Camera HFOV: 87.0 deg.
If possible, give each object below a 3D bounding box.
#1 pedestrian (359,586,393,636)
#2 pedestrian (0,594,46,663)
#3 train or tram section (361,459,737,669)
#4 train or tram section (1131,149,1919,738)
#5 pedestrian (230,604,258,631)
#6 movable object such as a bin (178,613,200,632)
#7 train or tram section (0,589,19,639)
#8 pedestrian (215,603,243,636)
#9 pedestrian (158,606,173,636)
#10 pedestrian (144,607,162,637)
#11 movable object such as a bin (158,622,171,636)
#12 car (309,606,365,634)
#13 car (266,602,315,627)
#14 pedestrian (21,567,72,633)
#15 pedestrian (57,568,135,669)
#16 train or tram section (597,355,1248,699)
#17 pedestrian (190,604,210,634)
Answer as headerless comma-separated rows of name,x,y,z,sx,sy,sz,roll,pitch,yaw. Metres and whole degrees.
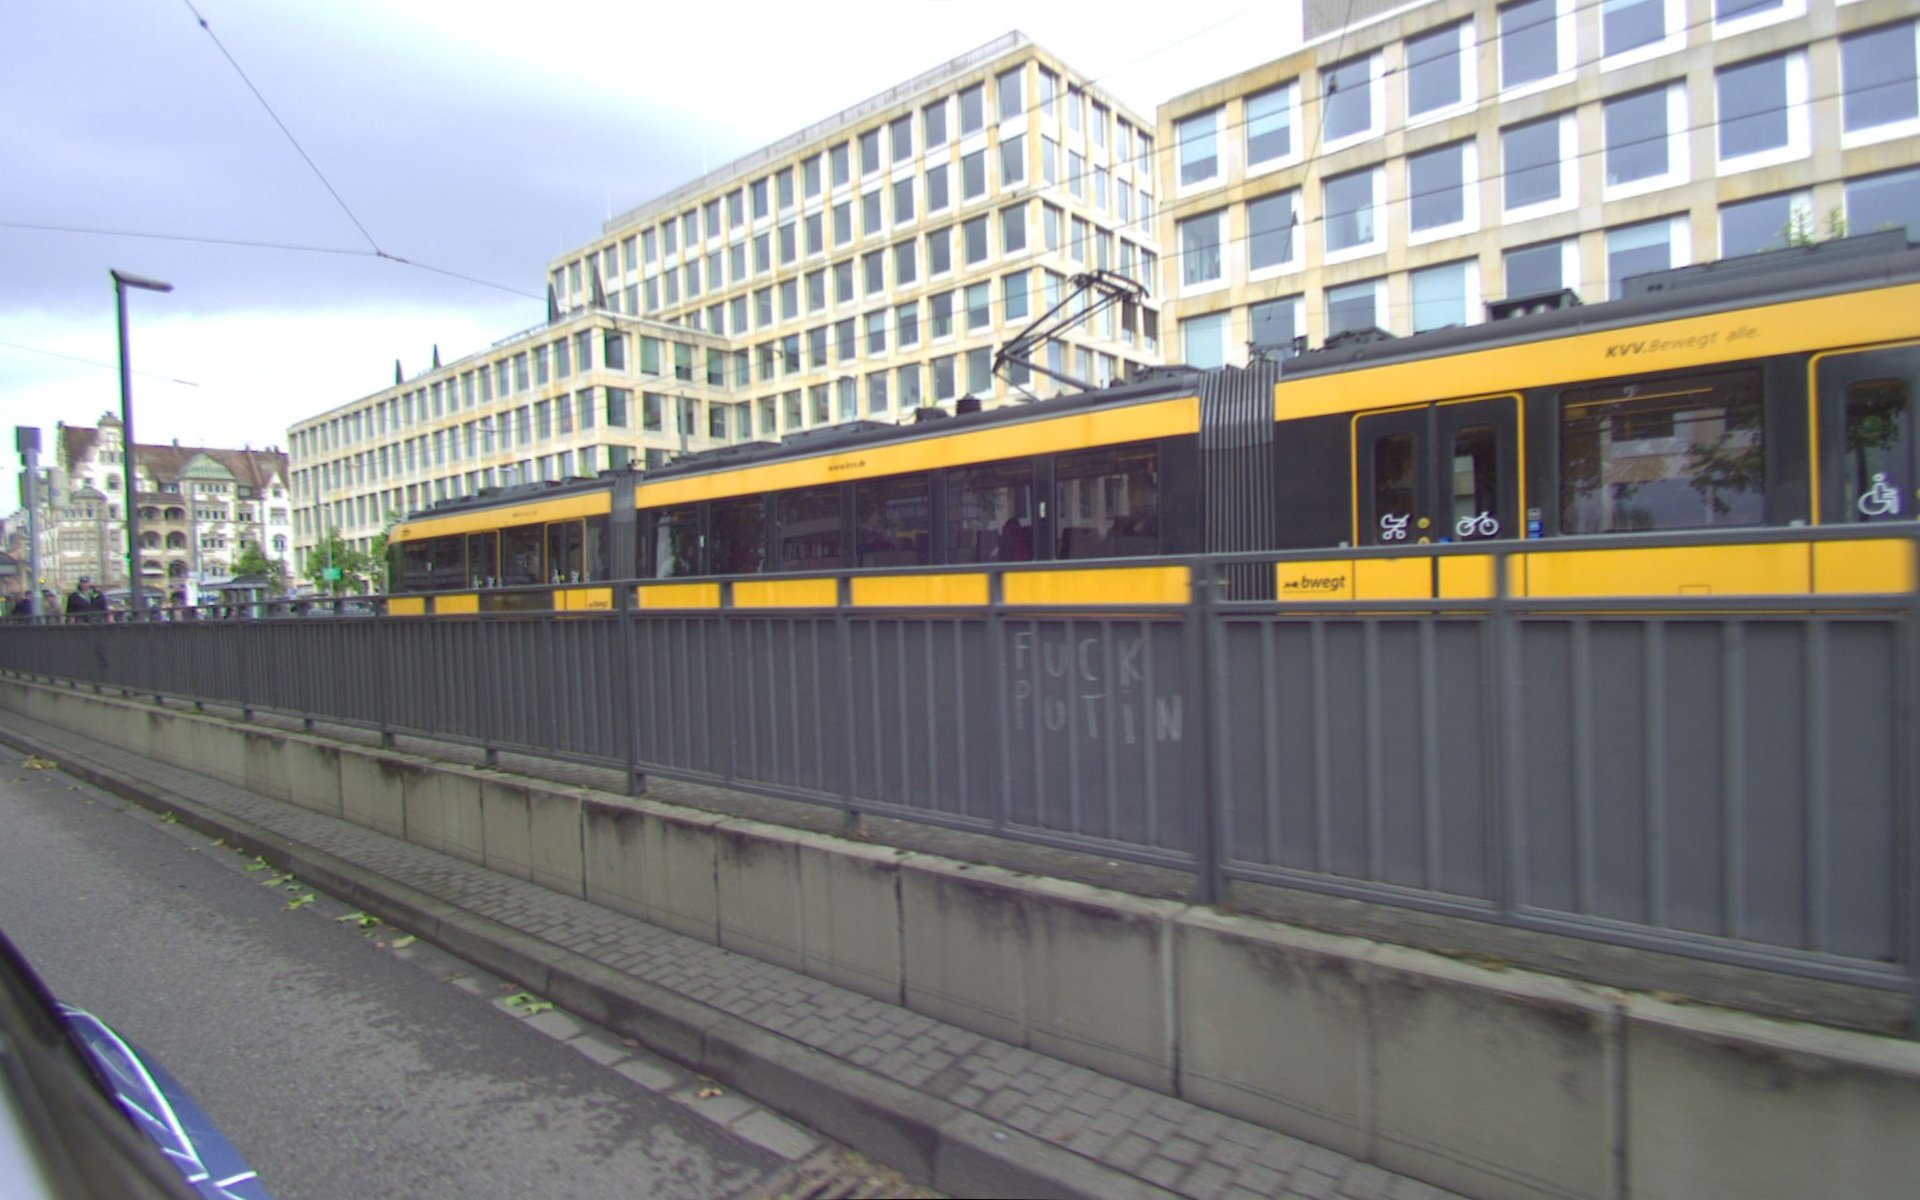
pedestrian,-22.033,0.412,38.166,1.159,1.809,0.704,-1,1,39
pedestrian,-25.068,0.754,27.018,1.109,1.807,0.665,-1,1,31
train or tram section,-10.063,-0.661,23.692,11.303,3.890,3.205,-1,1,40
train or tram section,8.155,-1.162,8.228,13.610,4.210,3.148,-1,1,40
pedestrian,-37.873,0.915,53.516,0.939,1.382,1.027,-1,1,43
movable object such as a bin,-42.252,1.219,55.451,0.714,1.029,0.620,-1,1,7
train or tram section,-76.762,1.152,79.042,13.506,3.719,2.827,-1,1,39
pedestrian,-39.391,1.041,54.507,0.939,1.699,1.027,-1,1,43
pedestrian,-43.709,1.131,55.681,0.529,1.619,0.566,-2,1,-44
pedestrian,-48.858,1.299,61.252,0.589,1.782,0.588,-1,1,3
movable object such as a bin,-44.056,1.600,56.058,0.529,0.753,0.469,-2,1,-44
car,-40.036,1.247,65.016,3.999,1.674,1.973,-1,1,42
car,-48.896,1.061,73.882,3.999,1.674,1.973,-1,1,42
pedestrian,-25.492,-0.011,28.256,1.107,1.807,0.666,-1,1,27
pedestrian,-17.915,0.363,20.994,0.839,2.029,1.048,-1,1,40
train or tram section,-1.390,-0.813,16.328,11.303,3.890,3.132,-1,1,40
pedestrian,-42.076,1.068,56.049,0.649,1.619,0.578,-1,1,7
